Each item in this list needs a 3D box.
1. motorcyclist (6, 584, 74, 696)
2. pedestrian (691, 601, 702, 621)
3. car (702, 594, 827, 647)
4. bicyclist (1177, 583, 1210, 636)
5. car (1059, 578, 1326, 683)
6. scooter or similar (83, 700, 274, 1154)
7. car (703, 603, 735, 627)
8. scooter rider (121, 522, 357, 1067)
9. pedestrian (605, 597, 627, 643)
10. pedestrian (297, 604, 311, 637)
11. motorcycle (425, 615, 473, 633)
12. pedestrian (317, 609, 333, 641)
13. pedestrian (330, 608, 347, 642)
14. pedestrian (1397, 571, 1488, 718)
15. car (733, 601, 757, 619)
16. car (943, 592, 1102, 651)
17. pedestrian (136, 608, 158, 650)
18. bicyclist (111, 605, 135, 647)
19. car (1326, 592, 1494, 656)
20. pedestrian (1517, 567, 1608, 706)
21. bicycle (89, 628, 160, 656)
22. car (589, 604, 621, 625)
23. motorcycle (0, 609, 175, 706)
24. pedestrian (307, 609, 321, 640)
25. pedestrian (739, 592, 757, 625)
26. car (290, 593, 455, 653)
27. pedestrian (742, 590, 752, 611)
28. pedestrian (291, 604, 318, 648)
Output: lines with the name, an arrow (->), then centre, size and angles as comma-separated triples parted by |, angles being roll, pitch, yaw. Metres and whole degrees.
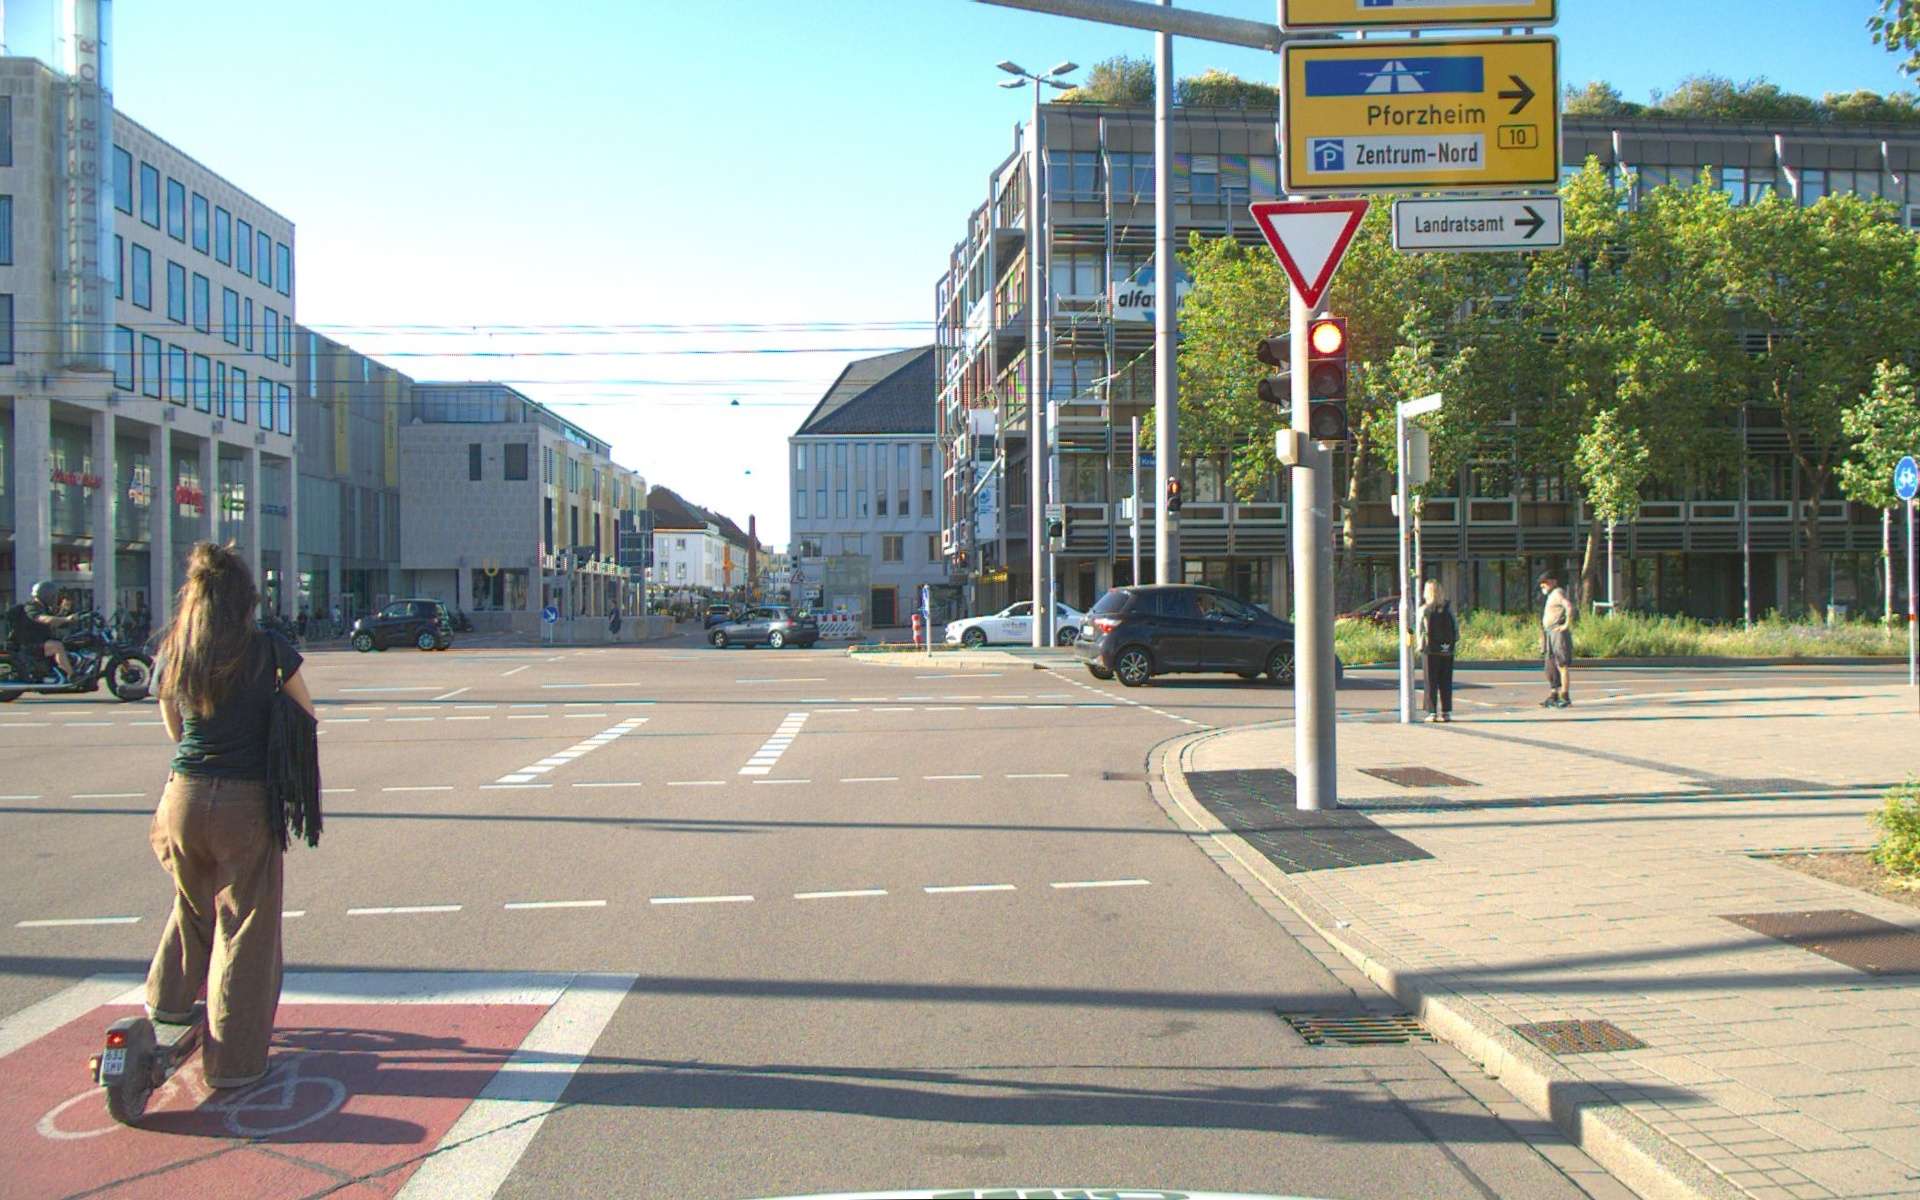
motorcyclist -> -12.277, 0.518, 22.091 | 0.646, 1.448, 0.645 | -1, 1, -18
pedestrian -> -25.985, 1.056, 163.160 | 0.892, 1.999, 0.822 | -1, 0, -1
car -> -6.616, 0.672, 55.891 | 3.913, 1.713, 1.822 | -1, 0, 31
bicyclist -> 6.672, 0.276, 47.223 | 0.806, 1.500, 0.652 | -1, 0, -5
car -> 3.600, 0.450, 25.849 | 3.793, 1.536, 1.667 | -1, 0, -12
scooter or similar -> -2.219, 0.878, 4.751 | 0.301, 1.127, 0.836 | -1, 0, -12
car -> -15.700, 0.958, 107.824 | 1.625, 1.484, 3.541 | -1, 0, -1
scooter rider -> -2.159, 0.555, 4.995 | 0.542, 1.556, 0.448 | -1, 0, -9
pedestrian -> -13.099, 0.749, 62.919 | 0.685, 1.718, 0.619 | -1, 0, 0
pedestrian -> -35.842, 1.108, 90.358 | 0.462, 1.759, 0.518 | 0, -1, 38
motorcycle -> -30.088, 1.431, 97.439 | 2.555, 1.010, 1.113 | 1, 0, -10
pedestrian -> -34.871, 1.386, 90.797 | 0.461, 1.759, 0.627 | 1, -1, 28
pedestrian -> -33.146, 1.327, 88.202 | 0.462, 1.759, 0.692 | 0, -1, 37
pedestrian -> 5.519, 0.499, 18.966 | 0.750, 1.642, 0.874 | -1, 0, -2
car -> -18.780, 0.862, 144.659 | 1.625, 1.484, 3.541 | -1, 0, -1
car -> 1.890, 0.647, 50.968 | 4.748, 1.713, 1.824 | -1, 0, -3
pedestrian -> -32.533, 1.169, 66.187 | 0.580, 1.674, 0.629 | -1, 0, -1
bicyclist -> -29.835, 0.913, 58.959 | 0.617, 1.473, 0.585 | -1, 0, 44
car -> 12.664, 0.642, 46.662 | 4.212, 1.713, 1.820 | -1, 0, -11
pedestrian -> 7.730, 0.458, 21.246 | 0.854, 1.736, 0.768 | -1, 0, -3
bicycle -> -29.792, 1.490, 59.008 | 0.626, 0.919, 2.205 | -1, 0, 41
car -> -25.976, 1.044, 121.095 | 1.625, 1.484, 3.541 | -1, 0, -1
motorcycle -> -11.999, 0.759, 22.187 | 2.554, 1.229, 0.726 | -1, 1, -18
pedestrian -> -35.261, 1.343, 90.287 | 0.462, 1.712, 0.518 | 0, -1, 38
pedestrian -> -11.606, 0.459, 90.438 | 0.881, 1.814, 0.808 | 0, 0, -1
car -> -17.606, 0.667, 49.718 | 4.317, 1.713, 1.824 | -1, 0, -4
pedestrian -> -21.152, 0.041, 164.362 | 0.892, 1.999, 0.822 | 1, -1, -1
pedestrian -> -24.821, 0.986, 62.645 | 0.760, 1.667, 0.626 | -1, 0, 3
